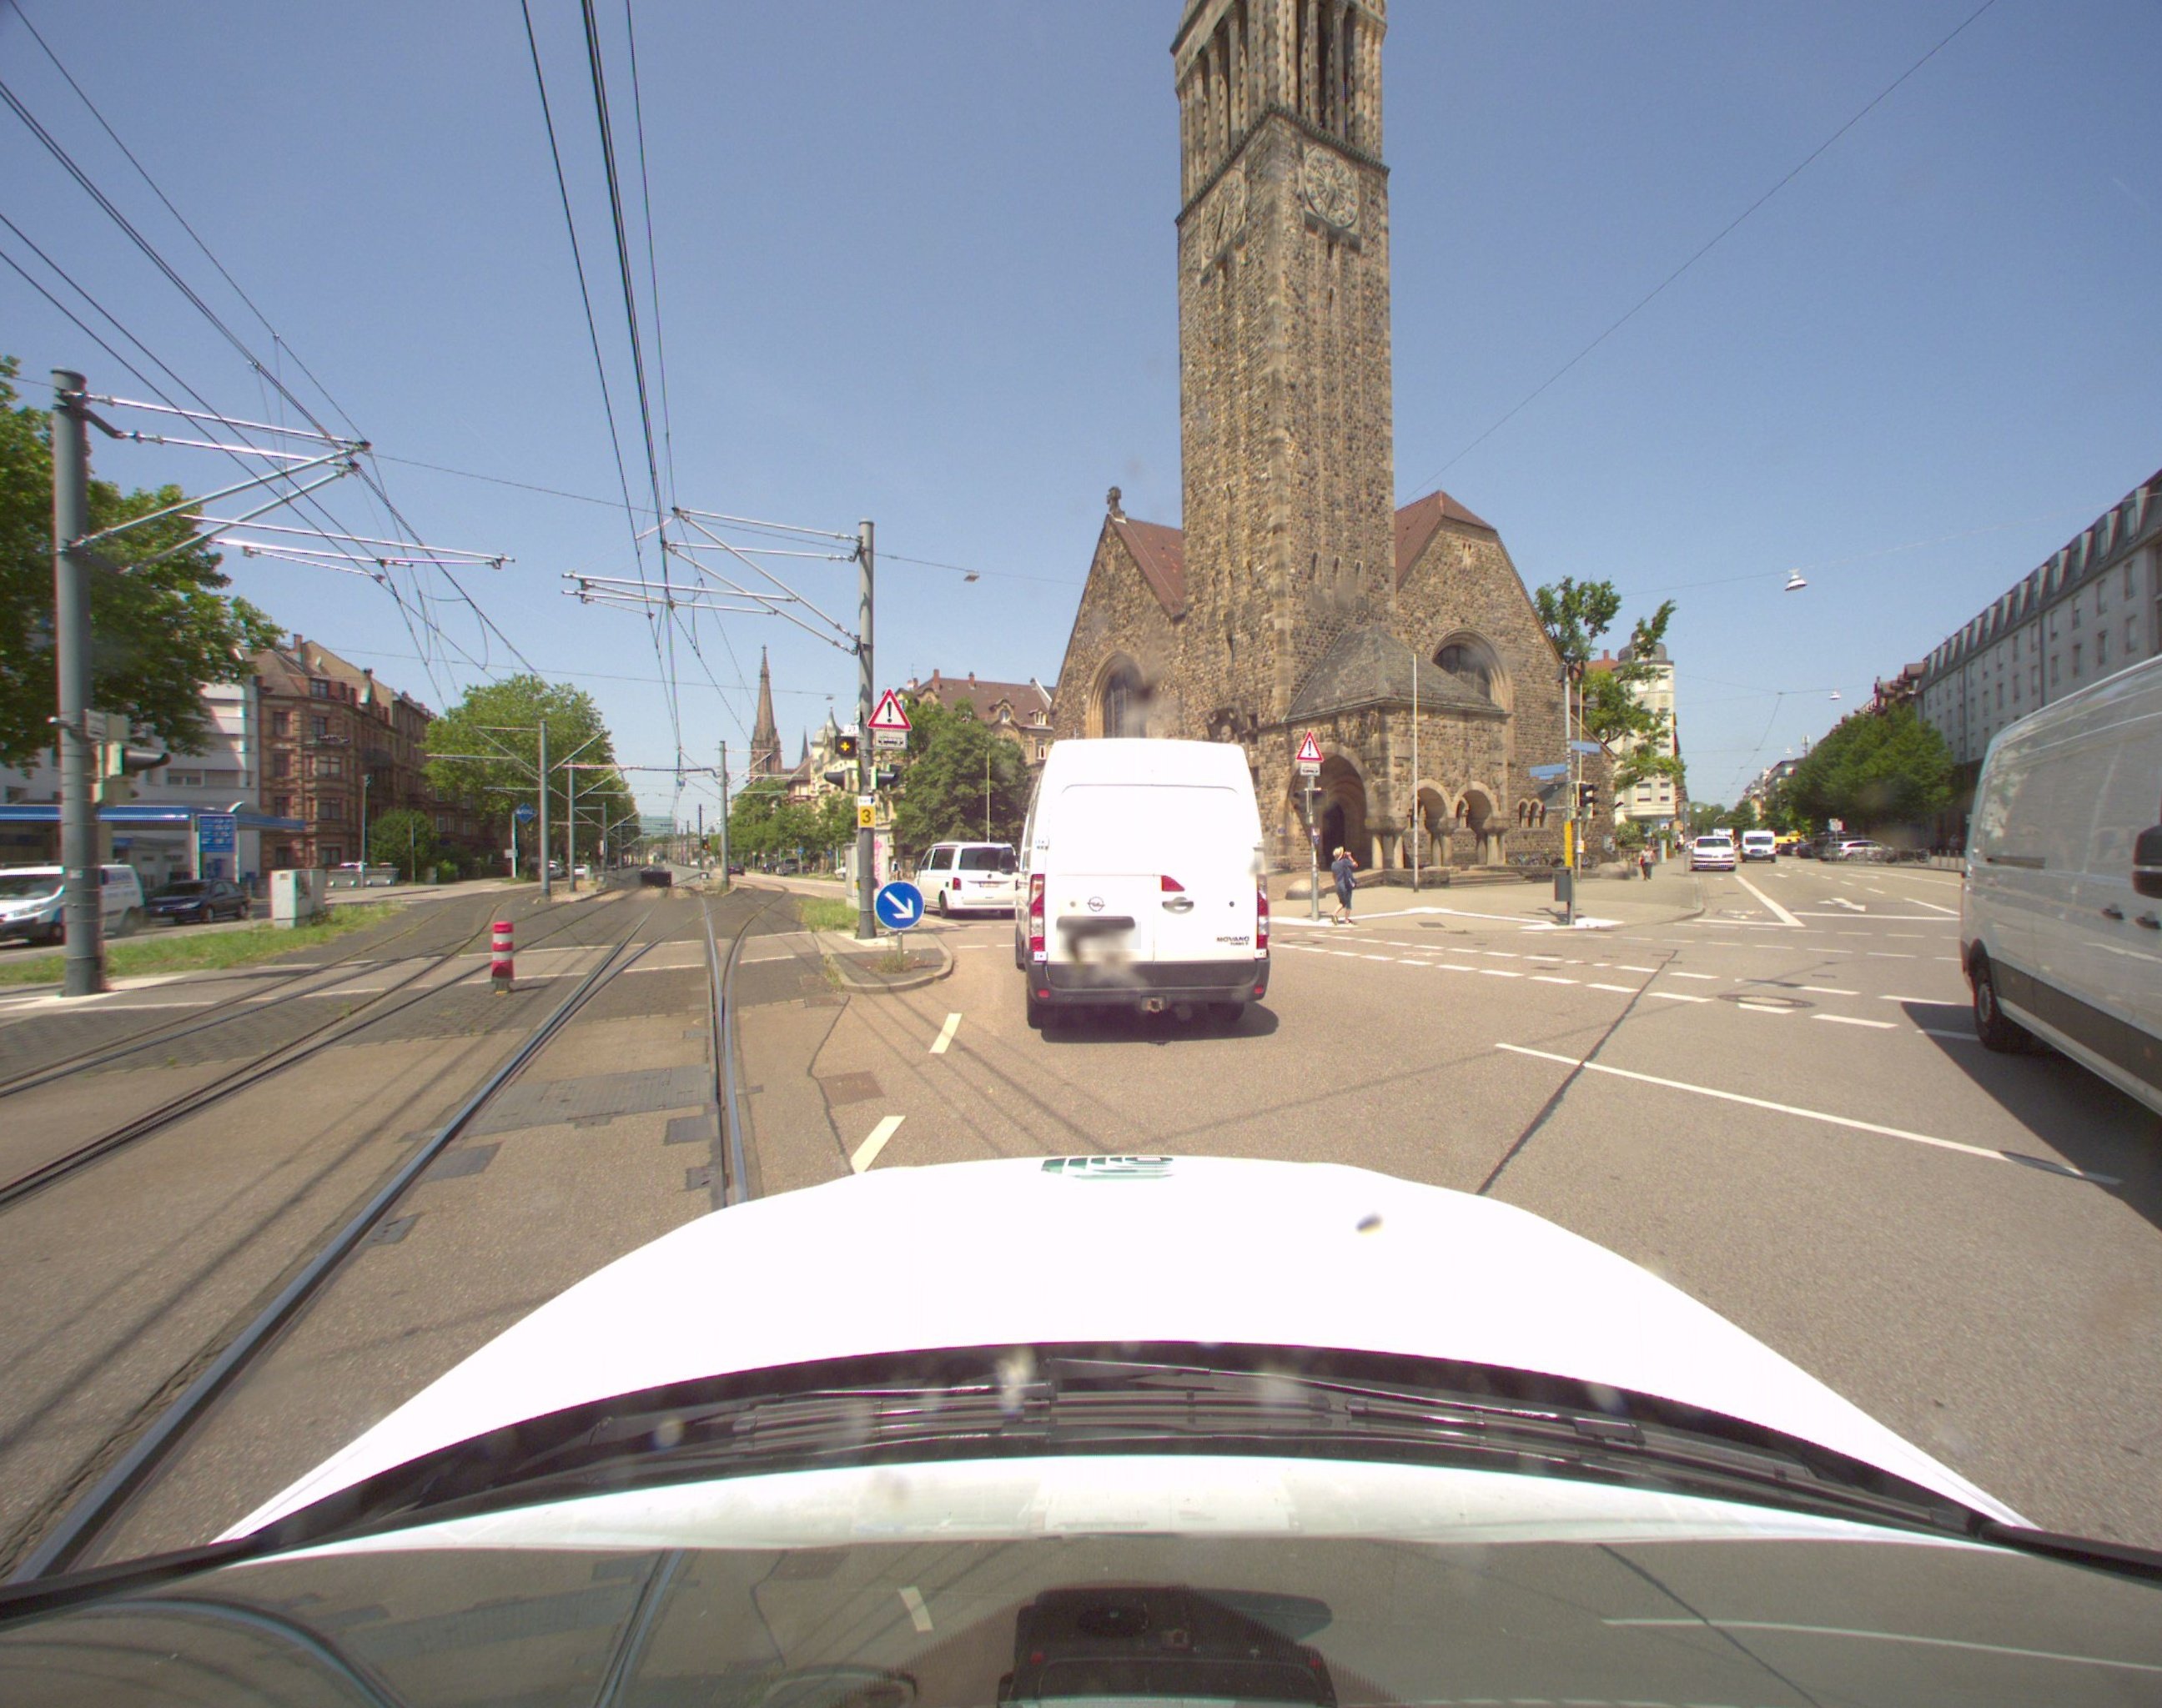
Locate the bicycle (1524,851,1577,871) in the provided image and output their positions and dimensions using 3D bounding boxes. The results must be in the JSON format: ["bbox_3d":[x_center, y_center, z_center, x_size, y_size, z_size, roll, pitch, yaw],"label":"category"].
[{"bbox_3d":[25.017,0.374,43.479,0.707,1.011,2.477,-1,0,-26],"label":"bicycle"}]

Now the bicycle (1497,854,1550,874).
[{"bbox_3d":[23.281,0.532,42.894,0.707,1.011,2.477,-1,0,-26],"label":"bicycle"}]

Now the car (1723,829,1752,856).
[{"bbox_3d":[65.685,-1.152,81.530,1.884,2.651,4.026,-1,0,35],"label":"car"}]

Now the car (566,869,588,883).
[{"bbox_3d":[-62.669,2.747,101.358,1.857,1.625,4.562,-2,0,-27],"label":"car"}]

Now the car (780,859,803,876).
[{"bbox_3d":[-30.752,1.431,86.478,1.760,1.706,3.724,0,-1,-28],"label":"car"}]

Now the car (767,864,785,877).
[{"bbox_3d":[-38.521,2.069,102.786,1.760,1.578,3.724,0,-1,-28],"label":"car"}]

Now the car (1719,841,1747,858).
[{"bbox_3d":[68.613,-0.473,85.746,1.935,1.750,4.026,-1,0,35],"label":"car"}]

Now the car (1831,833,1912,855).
[{"bbox_3d":[58.563,-0.760,60.426,3.958,1.549,1.756,-1,-1,14],"label":"car"}]

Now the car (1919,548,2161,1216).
[{"bbox_3d":[6.264,0.093,4.067,2.050,2.637,6.676,-1,0,39],"label":"car"}]

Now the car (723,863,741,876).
[{"bbox_3d":[-41.628,1.864,97.119,1.760,1.539,3.724,0,-1,-28],"label":"car"}]

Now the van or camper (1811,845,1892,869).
[{"bbox_3d":[61.180,0.232,64.767,4.284,1.838,2.006,-1,0,11],"label":"van or camper"}]

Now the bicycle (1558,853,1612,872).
[{"bbox_3d":[27.218,0.445,44.060,0.707,1.011,2.477,-1,0,-26],"label":"bicycle"}]

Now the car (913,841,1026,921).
[{"bbox_3d":[-3.125,0.675,22.048,1.925,1.944,4.230,0,-1,-24],"label":"car"}]

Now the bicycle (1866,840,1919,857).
[{"bbox_3d":[56.516,-0.394,56.727,2.571,1.174,0.685,-1,-1,15],"label":"bicycle"}]

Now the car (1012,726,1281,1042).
[{"bbox_3d":[0.322,0.246,8.983,2.114,2.459,5.044,0,-1,-5],"label":"car"}]

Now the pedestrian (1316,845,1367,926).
[{"bbox_3d":[5.974,0.705,18.716,0.745,1.822,0.828,0,-1,-20],"label":"pedestrian"}]

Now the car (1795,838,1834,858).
[{"bbox_3d":[66.953,-0.553,74.391,1.935,1.750,4.025,-1,0,31],"label":"car"}]

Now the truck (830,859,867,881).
[{"bbox_3d":[-17.966,1.250,62.840,1.800,1.526,4.425,-3,0,-27],"label":"truck"}]

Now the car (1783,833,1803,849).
[{"bbox_3d":[93.929,-1.692,107.442,1.888,2.014,4.025,-2,-2,40],"label":"car"}]

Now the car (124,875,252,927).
[{"bbox_3d":[-29.134,1.479,26.717,1.605,1.420,3.747,-3,1,-28],"label":"car"}]

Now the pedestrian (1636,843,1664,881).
[{"bbox_3d":[24.255,0.339,34.714,0.795,1.559,0.713,0,-1,-34],"label":"pedestrian"}]

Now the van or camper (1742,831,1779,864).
[{"bbox_3d":[52.246,-0.515,62.671,2.047,2.461,5.939,-1,0,39],"label":"van or camper"}]

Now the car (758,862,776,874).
[{"bbox_3d":[-41.412,1.797,107.389,1.760,1.578,3.724,0,-1,-28],"label":"car"}]

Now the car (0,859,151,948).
[{"bbox_3d":[-25.670,1.141,20.274,1.788,1.991,4.760,-1,0,-29],"label":"car"}]

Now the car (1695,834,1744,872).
[{"bbox_3d":[36.124,-0.082,46.056,2.019,2.004,4.999,-1,0,40],"label":"car"}]

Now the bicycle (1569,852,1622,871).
[{"bbox_3d":[28.150,0.424,44.606,0.707,1.011,2.477,-1,0,-26],"label":"bicycle"}]
